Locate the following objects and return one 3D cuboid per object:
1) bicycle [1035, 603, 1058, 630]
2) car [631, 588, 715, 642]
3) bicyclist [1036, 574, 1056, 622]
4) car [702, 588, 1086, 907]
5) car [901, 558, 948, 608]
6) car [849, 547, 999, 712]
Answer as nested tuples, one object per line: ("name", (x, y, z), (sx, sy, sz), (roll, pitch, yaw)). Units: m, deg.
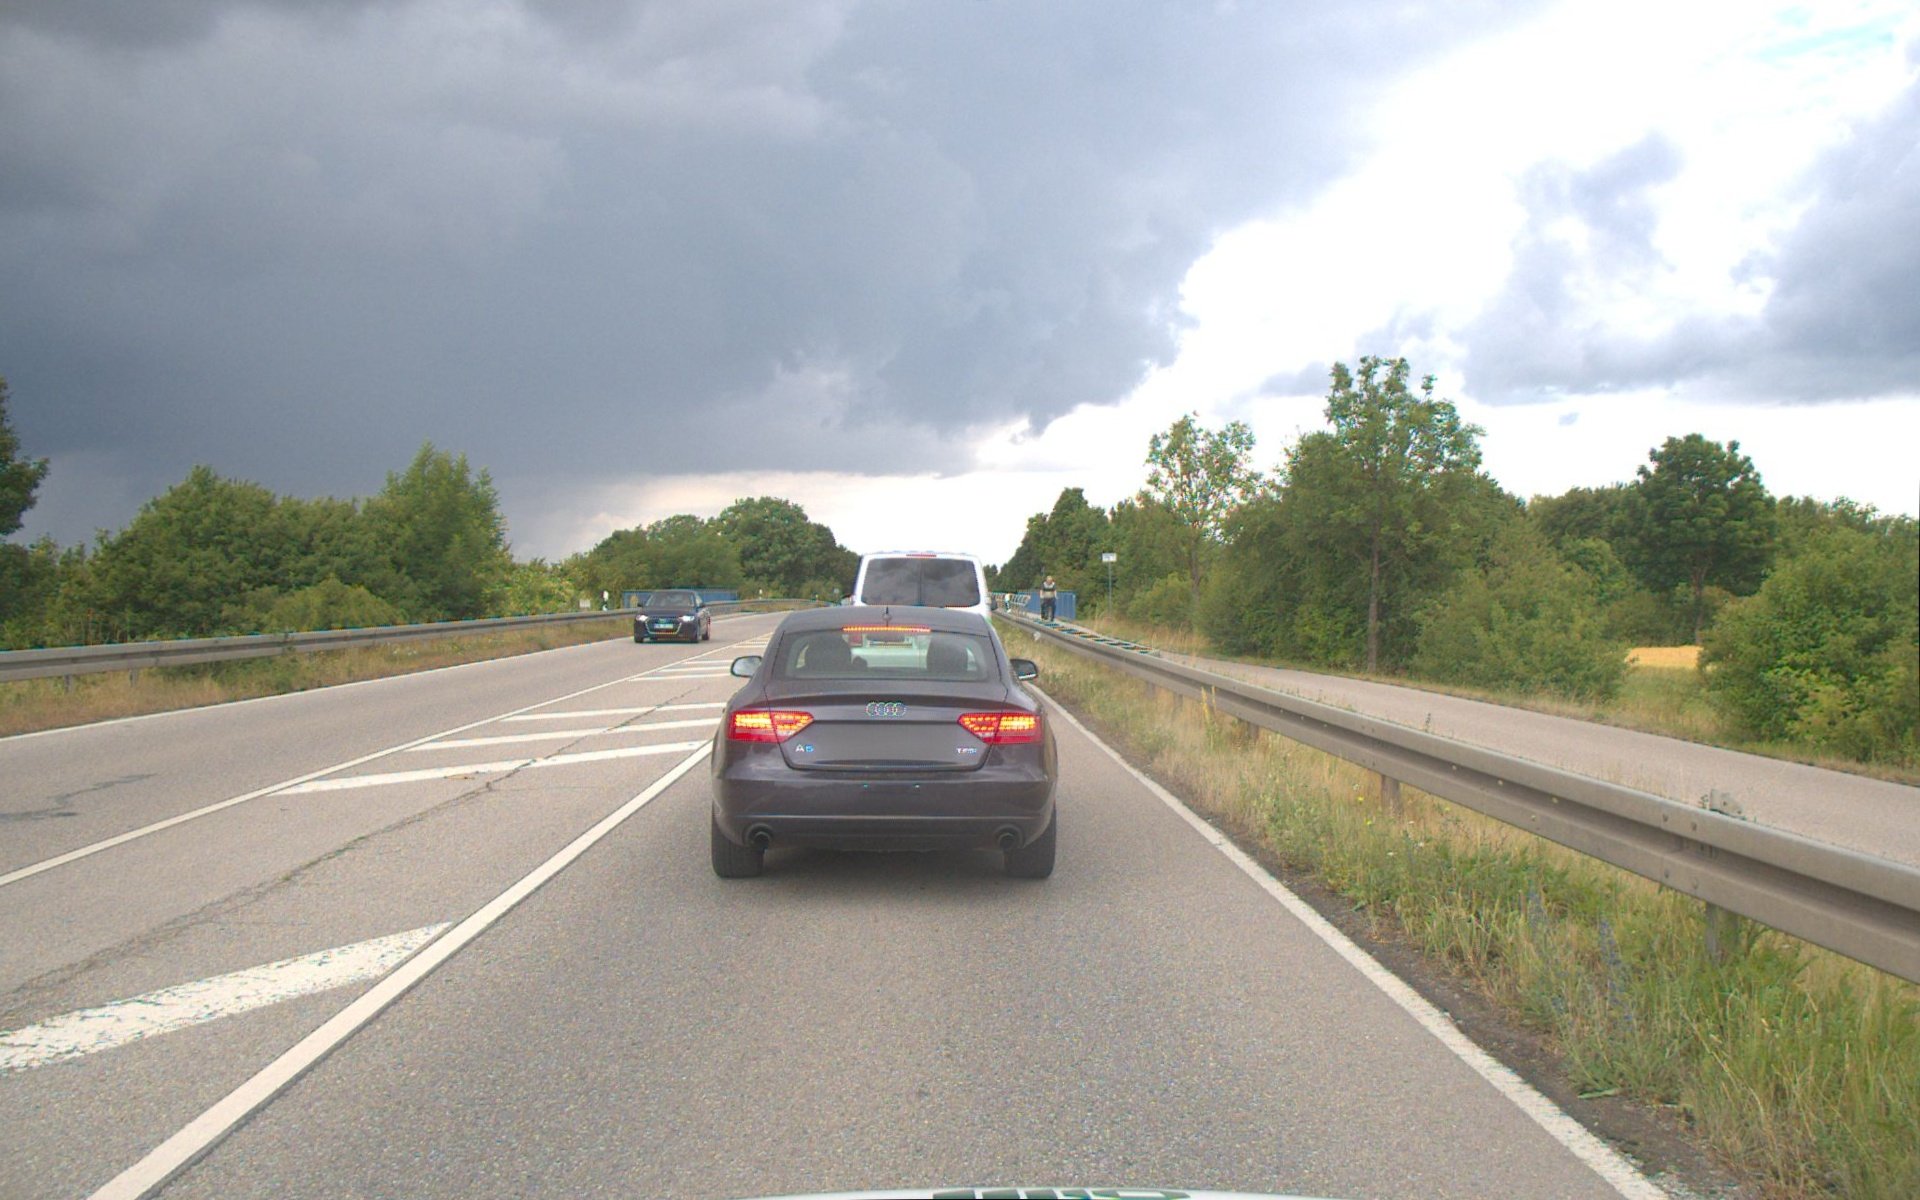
("bicycle", (3.077, 0.591, 59.089), (0.652, 0.936, 1.830), (0, 0, -2))
("car", (-7.850, 0.373, 45.533), (1.825, 1.400, 3.997), (0, 0, -4))
("bicyclist", (3.072, -0.066, 58.973), (0.634, 1.674, 0.866), (0, 0, -2))
("car", (-0.355, 0.690, 9.639), (1.750, 1.448, 3.999), (1, 0, -2))
("car", (-1.858, -0.896, 88.068), (2.398, 2.548, 5.040), (1, 0, -1))
("car", (-0.478, 0.360, 21.557), (1.750, 1.923, 3.999), (1, 0, -2))
